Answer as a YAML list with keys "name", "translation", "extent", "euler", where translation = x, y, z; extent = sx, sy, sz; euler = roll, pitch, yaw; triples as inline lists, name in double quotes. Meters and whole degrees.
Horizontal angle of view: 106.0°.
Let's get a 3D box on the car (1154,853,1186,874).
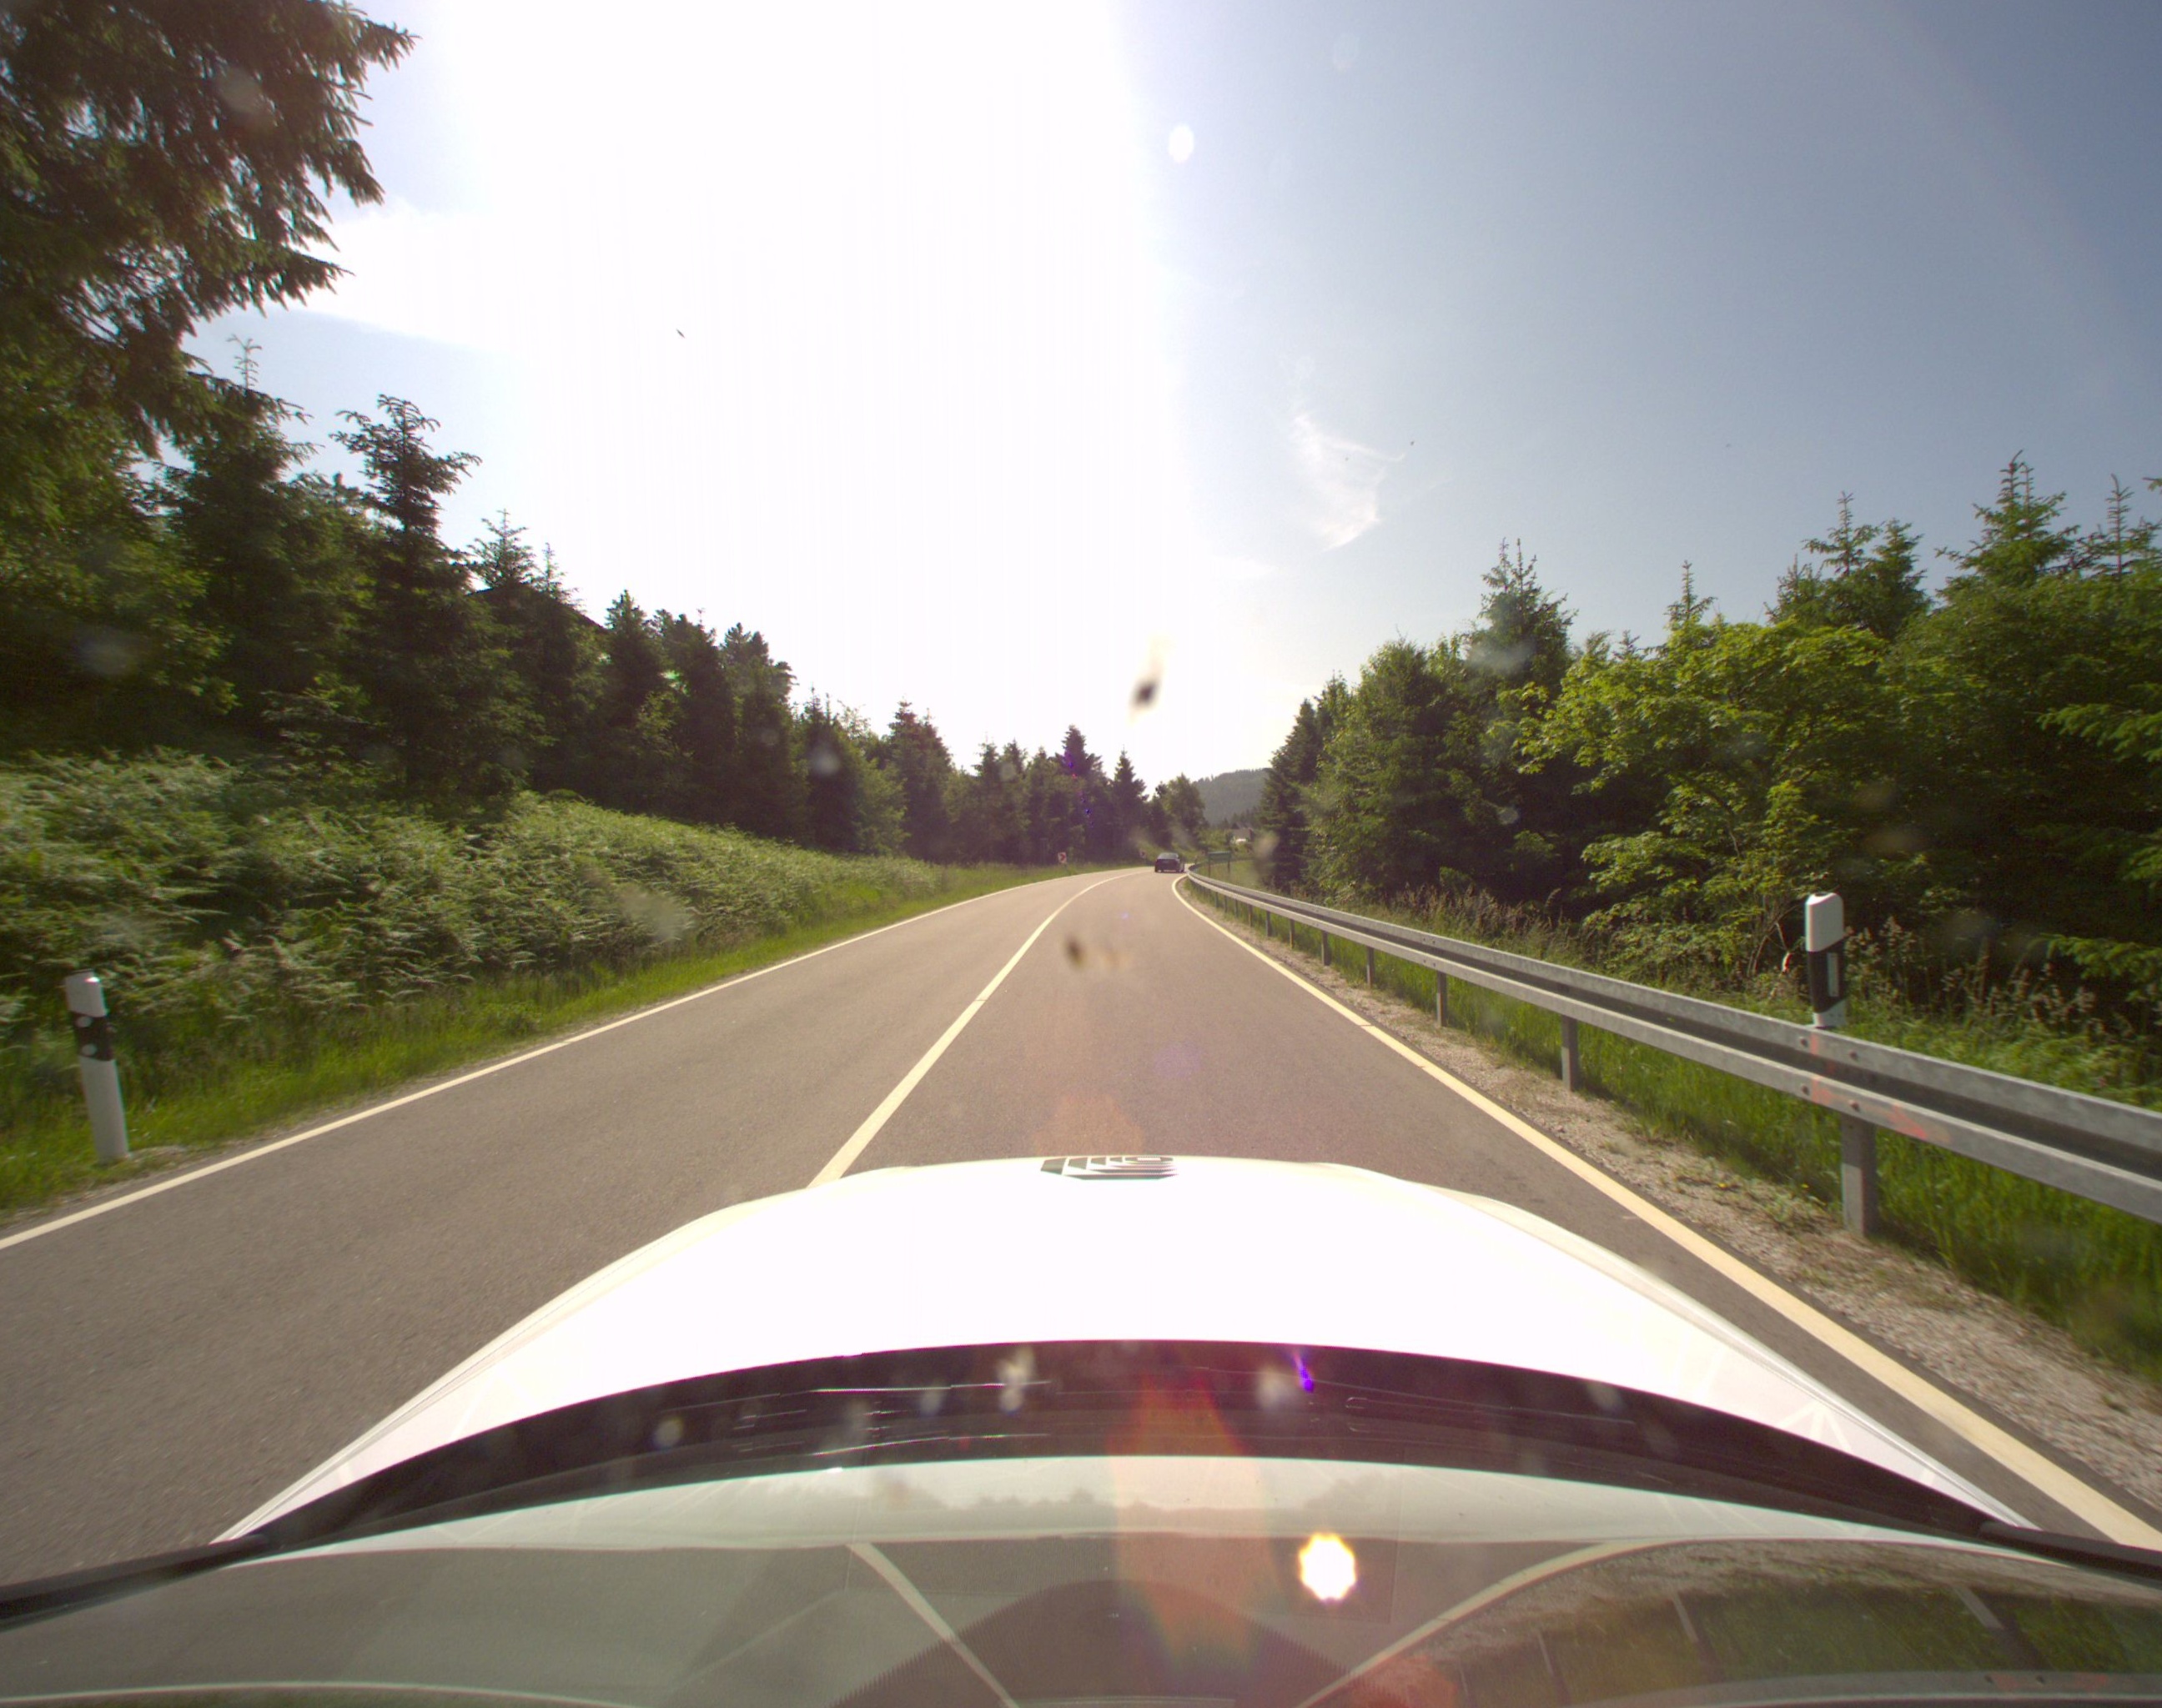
- name: "car"
  translation: [6.538, 0.694, 59.628]
  extent: [1.762, 1.442, 3.724]
  euler: [-1, 1, 15]
